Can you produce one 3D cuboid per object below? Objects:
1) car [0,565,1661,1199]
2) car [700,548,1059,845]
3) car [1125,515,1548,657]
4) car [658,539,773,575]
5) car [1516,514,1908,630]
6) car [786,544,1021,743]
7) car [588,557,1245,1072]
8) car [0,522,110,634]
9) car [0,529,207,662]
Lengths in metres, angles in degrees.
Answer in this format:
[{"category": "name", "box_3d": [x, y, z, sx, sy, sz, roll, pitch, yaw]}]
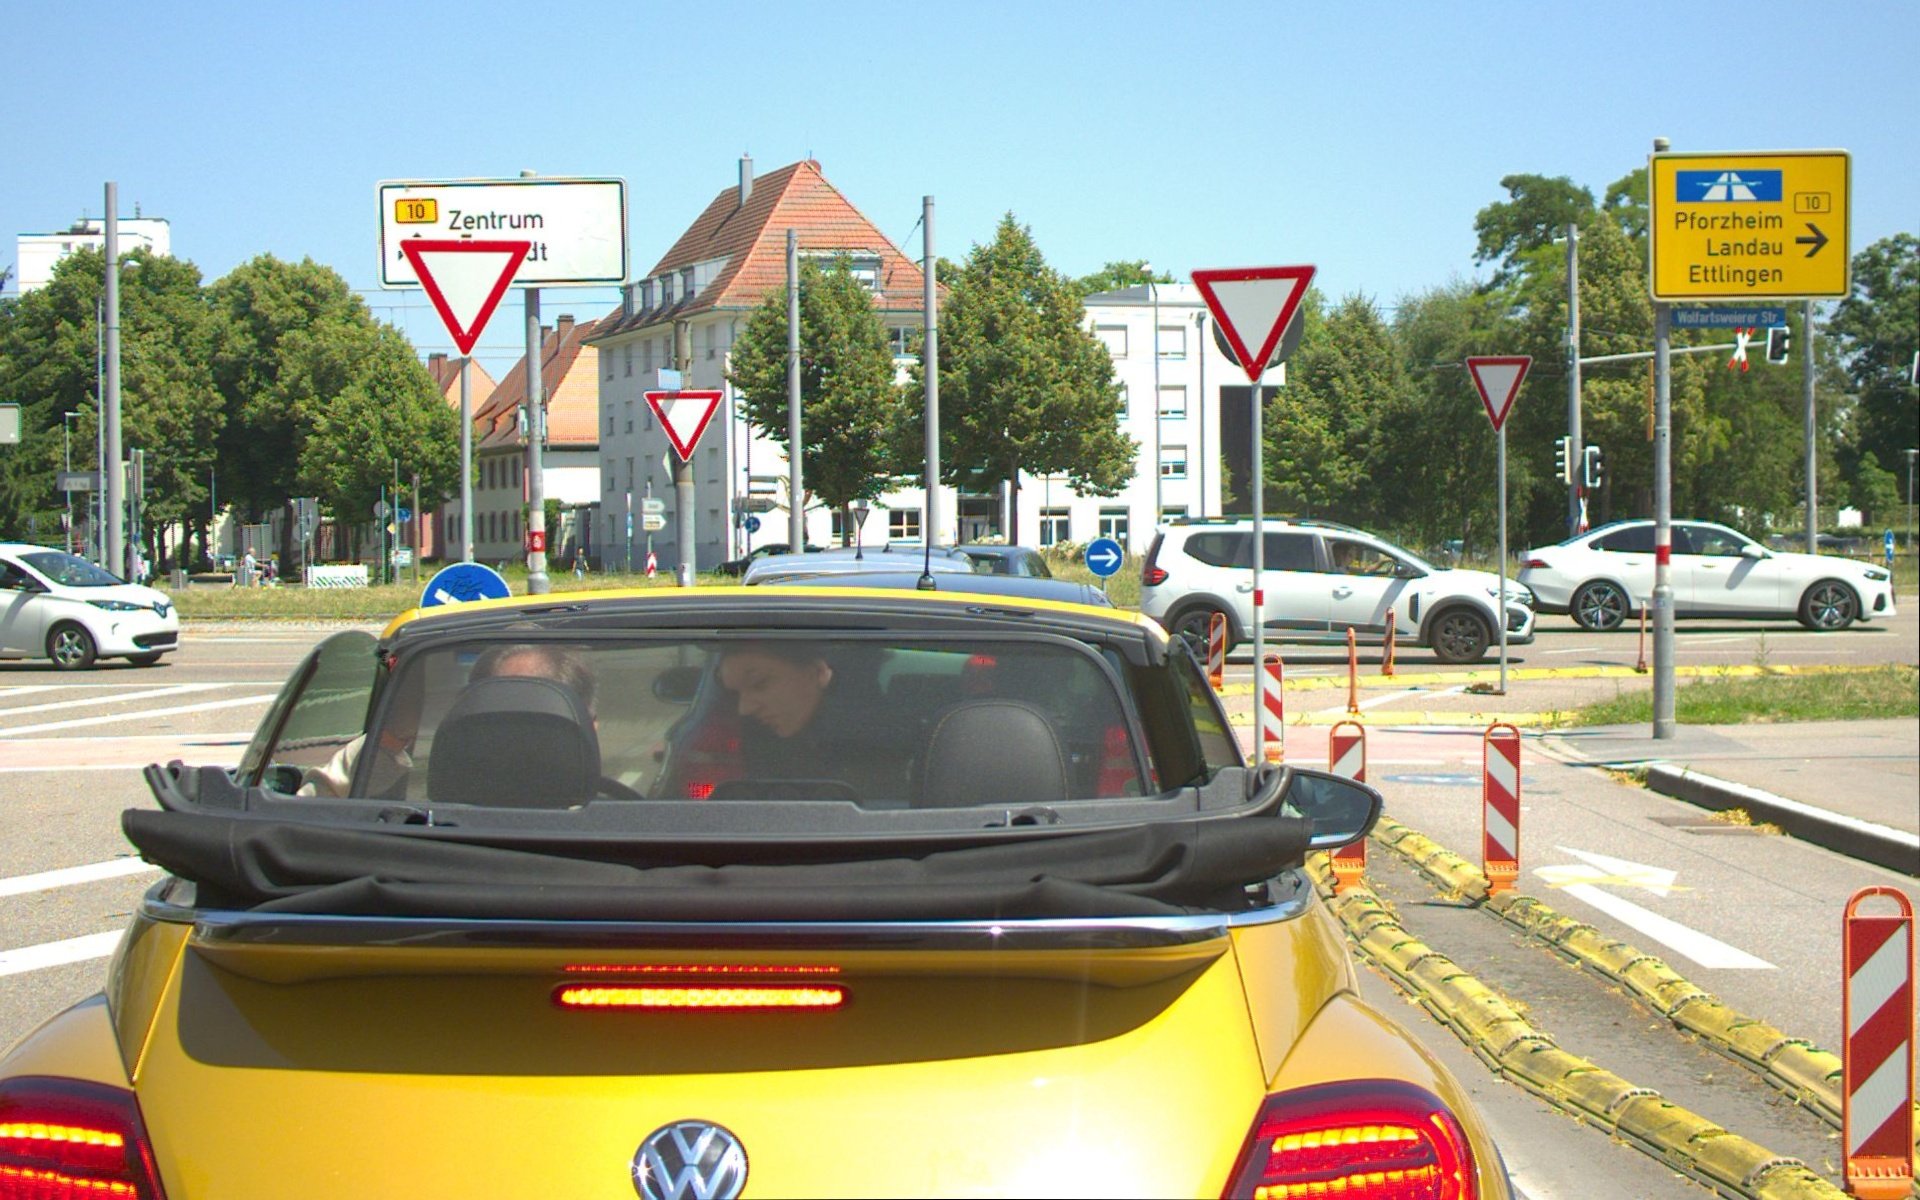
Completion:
[{"category": "car", "box_3d": [-0.304, 0.670, 4.842, 1.752, 1.417, 3.778, 0, 1, -1]}, {"category": "car", "box_3d": [-0.410, 0.441, 18.697, 1.736, 1.437, 4.000, 0, 1, -1]}, {"category": "car", "box_3d": [4.332, -0.178, 39.355, 4.578, 1.561, 1.999, 0, 1, 14]}, {"category": "car", "box_3d": [-8.475, -1.503, 118.908, 3.782, 1.232, 1.709, 1, 1, 37]}, {"category": "car", "box_3d": [10.039, -0.391, 46.266, 4.992, 1.504, 1.999, 0, 1, 8]}, {"category": "car", "box_3d": [-0.439, 0.292, 27.498, 1.736, 1.472, 4.000, 0, 1, -1]}, {"category": "car", "box_3d": [-0.142, 0.579, 11.684, 1.848, 1.437, 4.000, 0, 1, -1]}, {"category": "car", "box_3d": [-14.272, -0.228, 48.632, 3.989, 1.491, 1.646, -3, 0, 13]}, {"category": "car", "box_3d": [-11.621, -0.082, 43.073, 4.003, 1.614, 1.678, 1, 1, 20]}]
